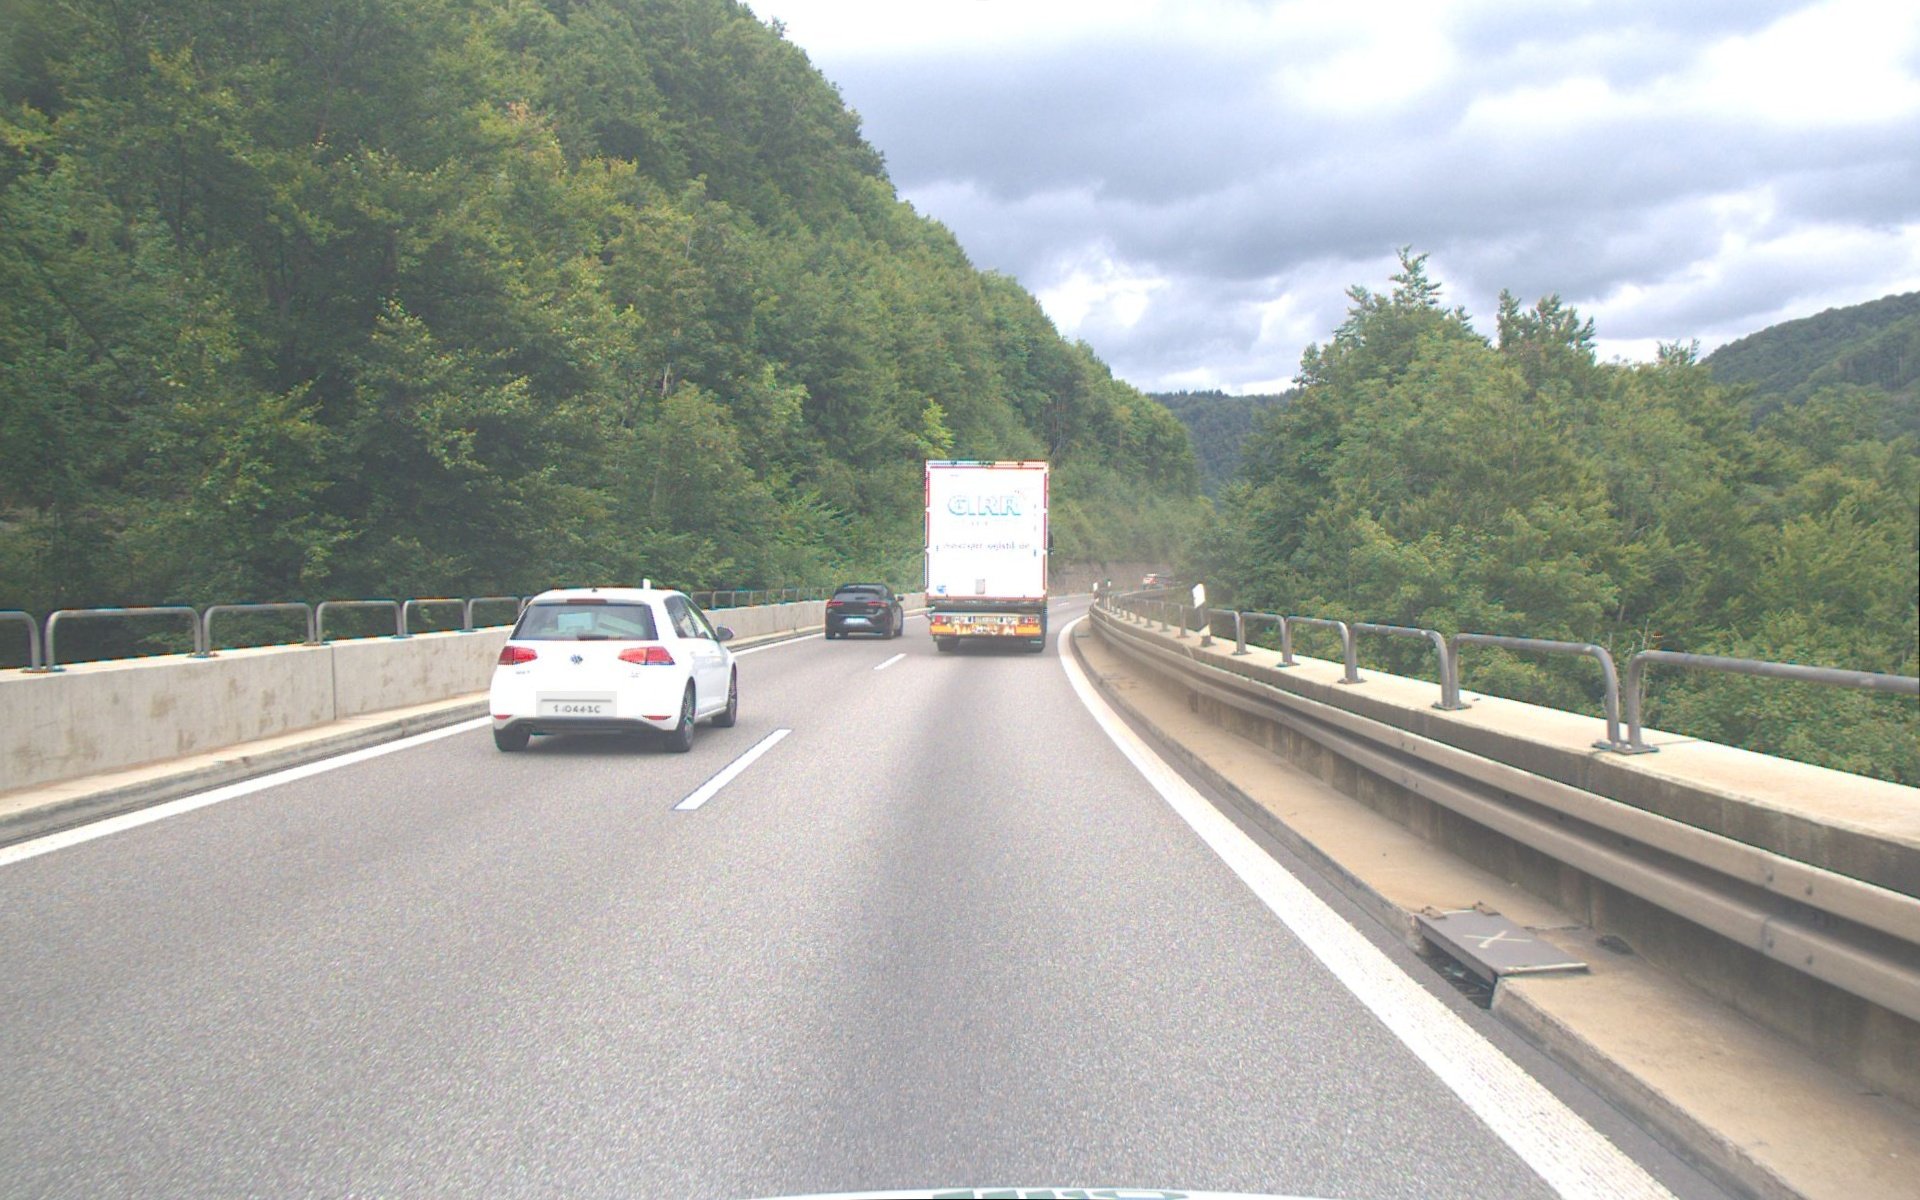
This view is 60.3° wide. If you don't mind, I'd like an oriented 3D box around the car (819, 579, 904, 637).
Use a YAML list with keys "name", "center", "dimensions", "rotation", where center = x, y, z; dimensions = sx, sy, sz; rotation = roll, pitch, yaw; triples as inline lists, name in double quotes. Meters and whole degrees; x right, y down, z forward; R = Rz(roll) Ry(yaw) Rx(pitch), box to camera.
- name: "car"
  center: [-2.606, 0.199, 44.589]
  dimensions: [1.736, 1.486, 4.583]
  rotation: [0, 0, 3]

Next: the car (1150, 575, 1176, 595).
- name: "car"
  center: [18.018, -1.319, 146.625]
  dimensions: [1.951, 1.593, 4.003]
  rotation: [-1, -1, 12]

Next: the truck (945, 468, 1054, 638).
- name: "truck"
  center: [1.188, -1.209, 46.214]
  dimensions: [2.754, 4.378, 6.261]
  rotation: [-1, 0, 3]

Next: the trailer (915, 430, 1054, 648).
- name: "trailer"
  center: [0.826, -1.220, 39.729]
  dimensions: [2.754, 4.378, 12.249]
  rotation: [-1, 0, 3]

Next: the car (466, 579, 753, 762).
- name: "car"
  center: [-3.217, 0.560, 16.143]
  dimensions: [1.807, 1.507, 4.628]
  rotation: [0, 1, 0]
